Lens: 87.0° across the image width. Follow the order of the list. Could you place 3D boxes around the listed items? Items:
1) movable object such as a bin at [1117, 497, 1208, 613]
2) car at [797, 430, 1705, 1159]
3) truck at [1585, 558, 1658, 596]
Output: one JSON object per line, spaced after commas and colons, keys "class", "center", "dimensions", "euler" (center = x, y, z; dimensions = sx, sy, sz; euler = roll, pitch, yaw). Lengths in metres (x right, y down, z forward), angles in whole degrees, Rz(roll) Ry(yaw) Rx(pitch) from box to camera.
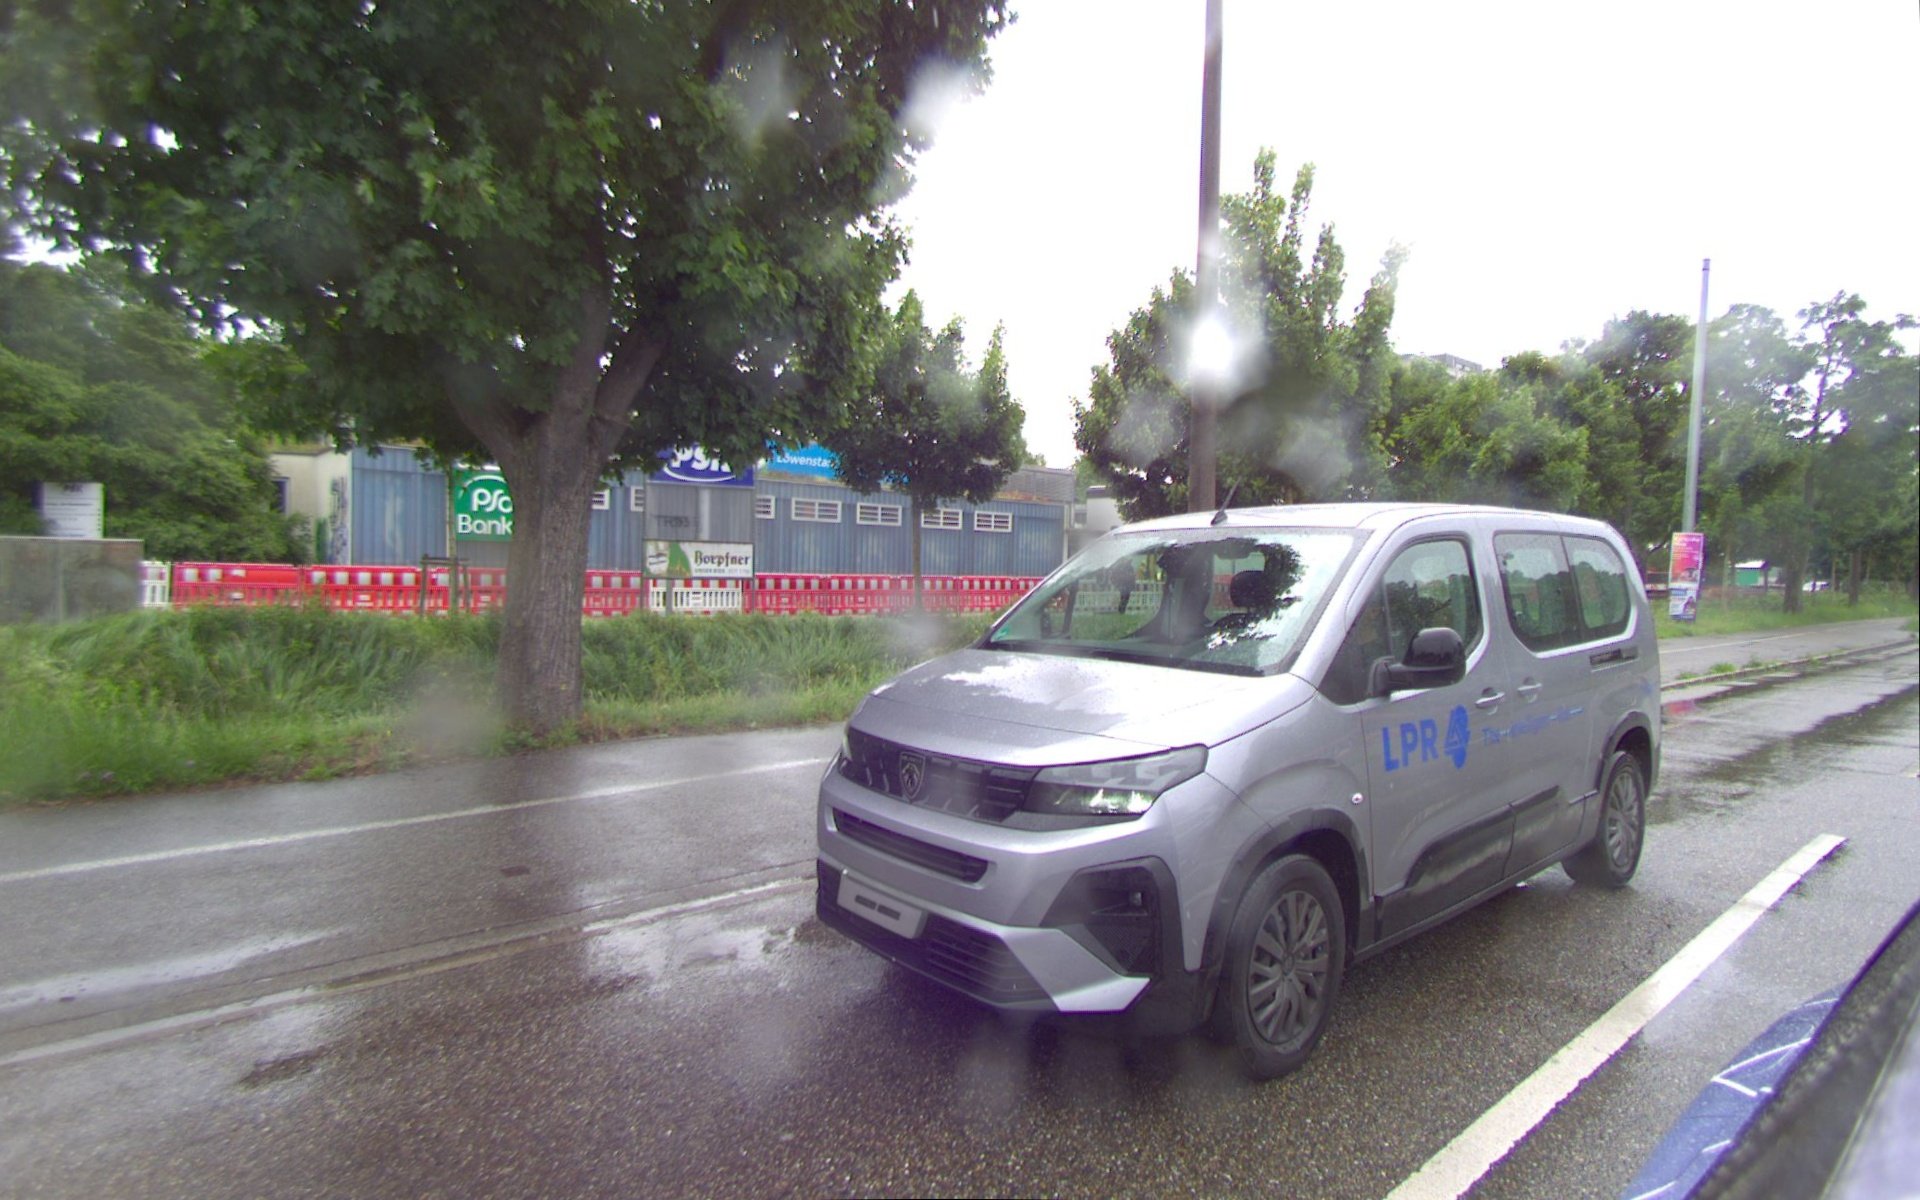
{"class": "movable object such as a bin", "center": [8.258, -1.798, 41.086], "dimensions": [3.839, 4.481, 1.557], "euler": [-1, 1, -39]}
{"class": "car", "center": [1.681, 0.435, 4.753], "dimensions": [4.483, 1.818, 1.997], "euler": [-1, 2, -41]}
{"class": "truck", "center": [53.719, -1.893, 82.113], "dimensions": [8.599, 2.935, 2.808], "euler": [-1, 1, -41]}
